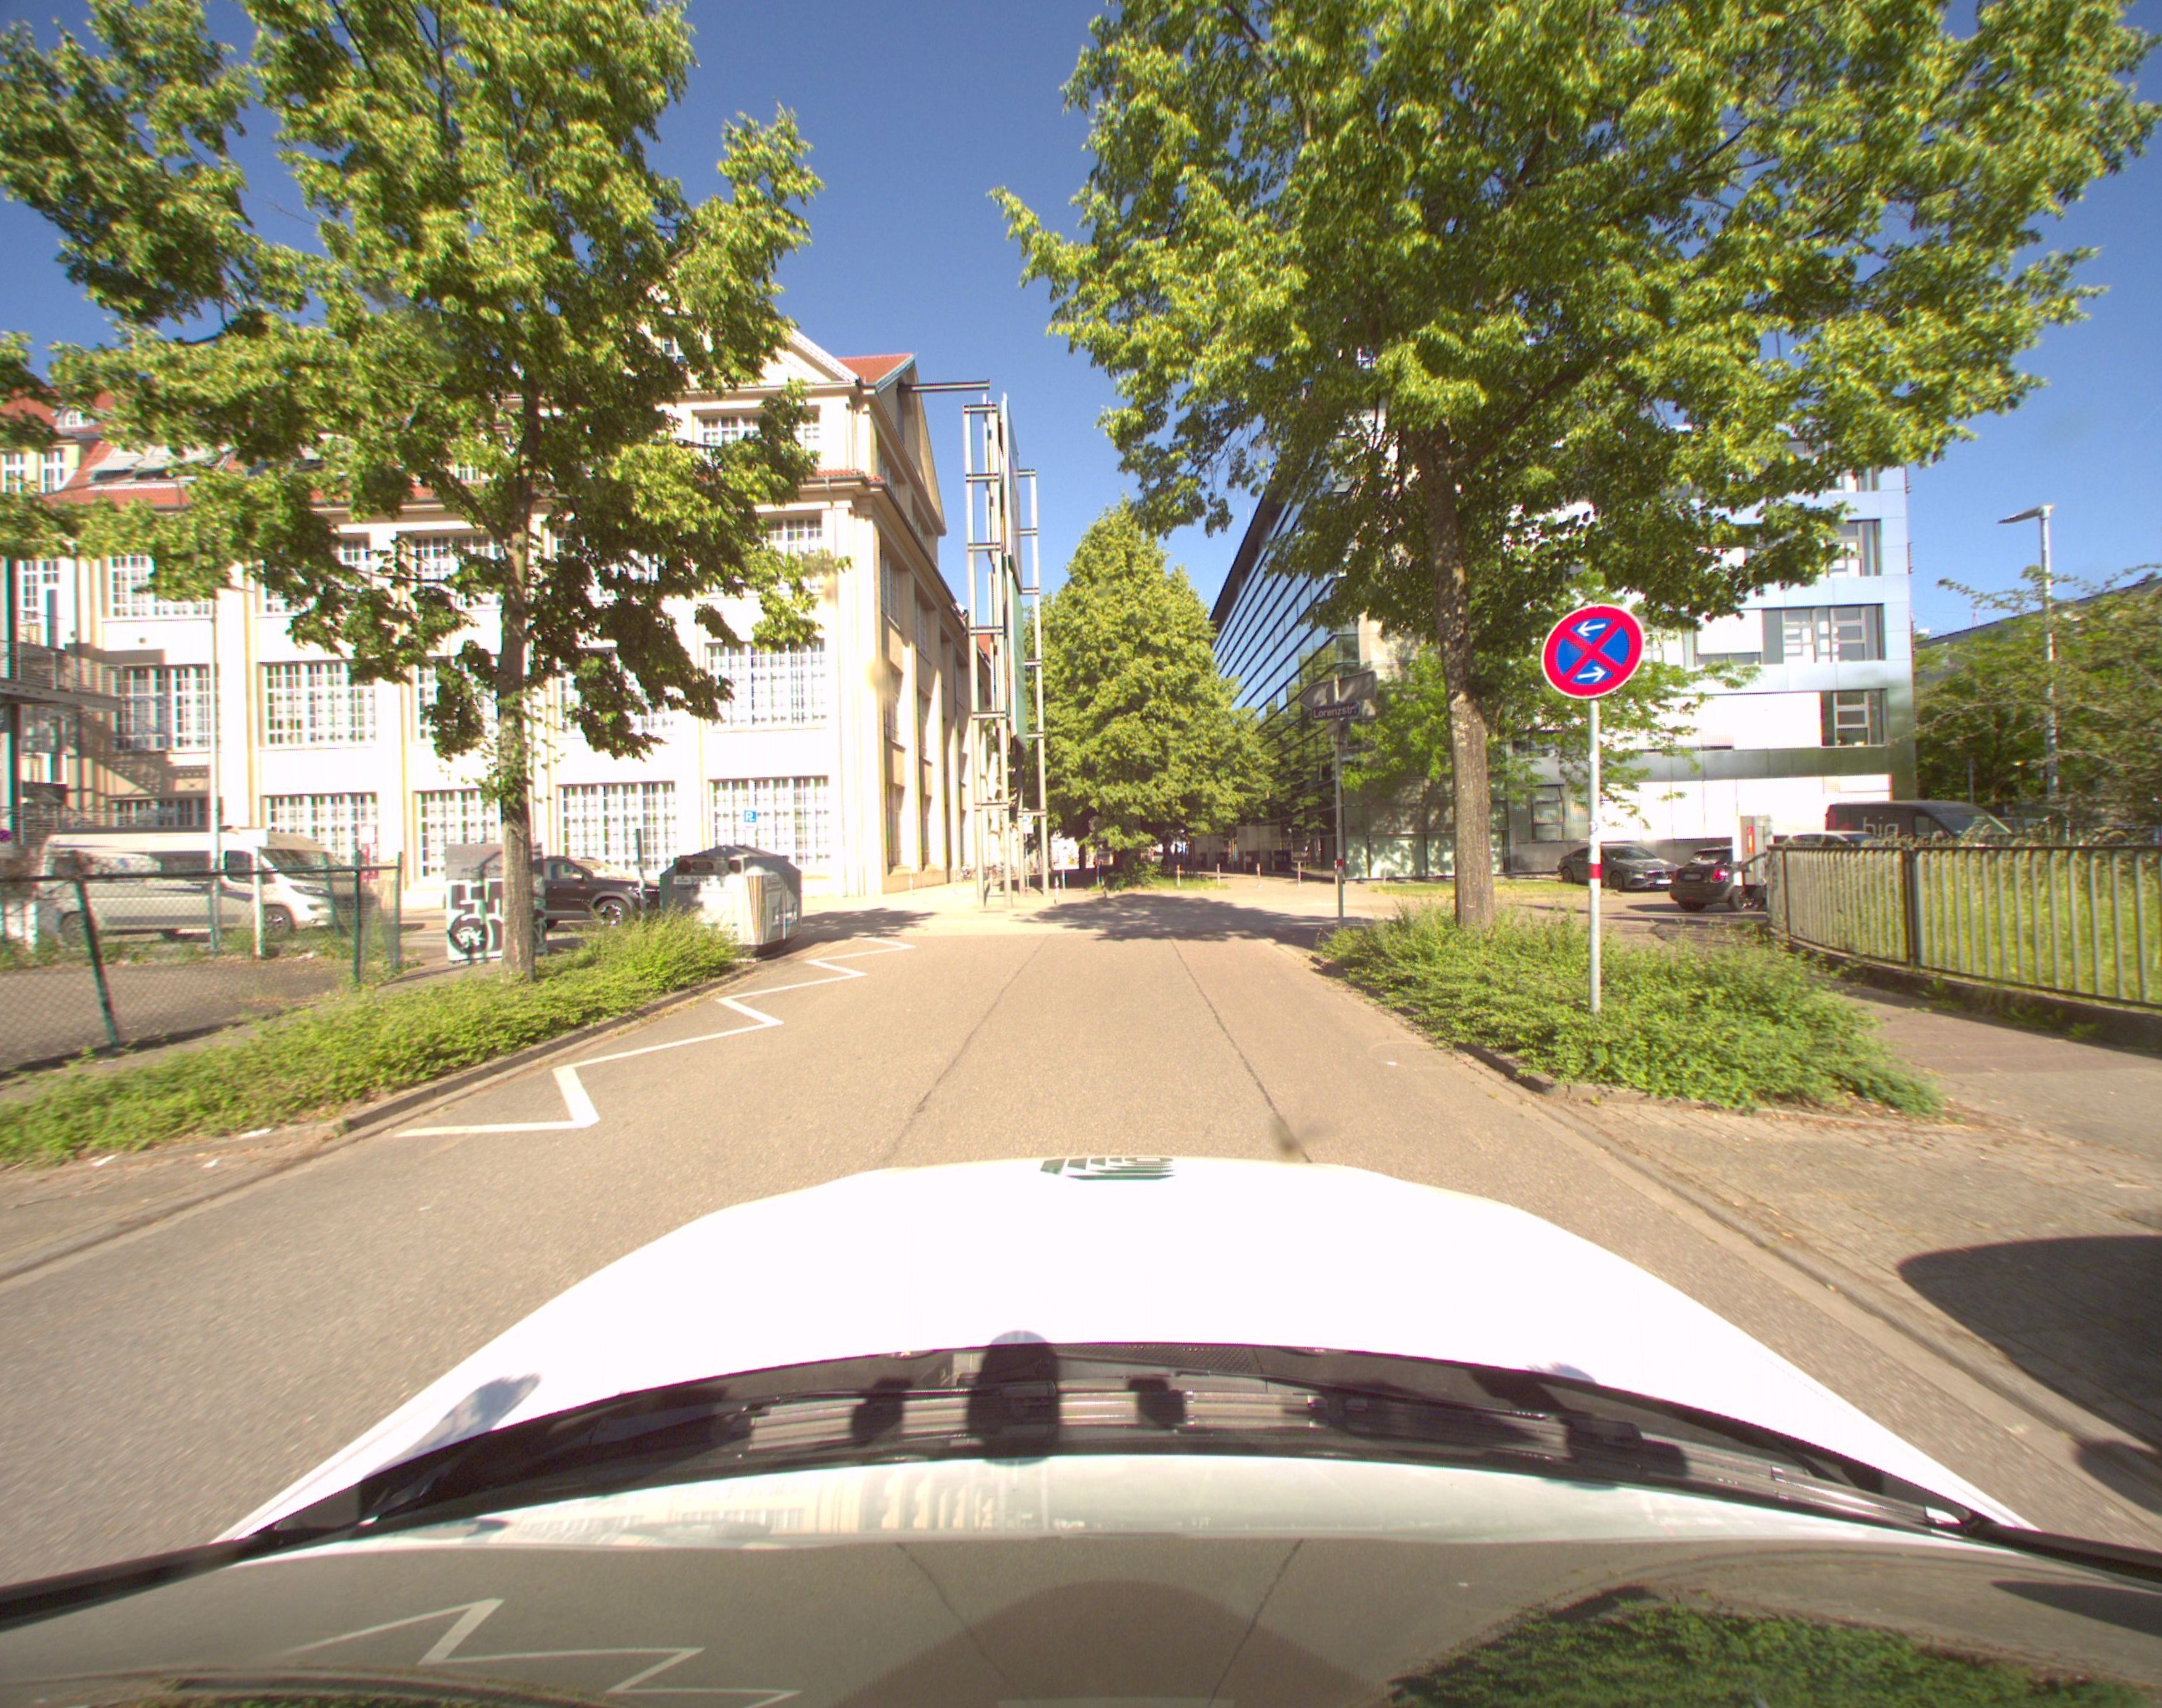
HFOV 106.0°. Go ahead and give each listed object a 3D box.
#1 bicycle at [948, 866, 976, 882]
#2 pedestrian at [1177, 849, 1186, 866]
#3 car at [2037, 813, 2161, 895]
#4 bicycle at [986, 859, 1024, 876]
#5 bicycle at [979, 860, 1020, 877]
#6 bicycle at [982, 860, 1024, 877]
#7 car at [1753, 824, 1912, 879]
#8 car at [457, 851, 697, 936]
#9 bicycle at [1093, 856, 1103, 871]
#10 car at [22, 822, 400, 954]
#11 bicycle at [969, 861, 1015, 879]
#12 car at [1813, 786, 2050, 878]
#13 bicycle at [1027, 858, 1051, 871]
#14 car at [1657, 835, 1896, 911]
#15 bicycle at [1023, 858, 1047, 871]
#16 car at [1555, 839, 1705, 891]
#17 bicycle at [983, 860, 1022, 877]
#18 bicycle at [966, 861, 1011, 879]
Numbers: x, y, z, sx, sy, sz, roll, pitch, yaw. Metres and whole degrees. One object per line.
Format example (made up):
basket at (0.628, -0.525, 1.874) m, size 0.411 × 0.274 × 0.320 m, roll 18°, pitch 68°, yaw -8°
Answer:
bicycle at (-6.976, 1.173, 47.953) m, size 0.773 × 0.792 × 2.892 m, roll -2°, pitch 0°, yaw 10°
pedestrian at (9.311, 0.284, 75.540) m, size 0.712 × 1.550 × 0.692 m, roll -2°, pitch 0°, yaw 8°
car at (23.440, -0.026, 17.195) m, size 4.264 × 1.629 × 1.832 m, roll -2°, pitch -2°, yaw 1°
bicycle at (-5.612, 1.009, 60.151) m, size 2.725 × 1.150 × 0.718 m, roll -2°, pitch 0°, yaw -3°
bicycle at (-5.799, 1.014, 57.868) m, size 2.794 × 1.150 × 0.718 m, roll -2°, pitch 0°, yaw -3°
bicycle at (-5.321, 1.001, 55.589) m, size 2.794 × 1.063 × 0.718 m, roll -2°, pitch 0°, yaw -3°
car at (24.979, -0.139, 27.281) m, size 1.879 × 1.645 × 3.846 m, roll -2°, pitch 2°, yaw 2°
car at (-11.139, 0.848, 18.207) m, size 4.072 × 1.695 × 2.002 m, roll -2°, pitch -1°, yaw 3°
bicycle at (1.364, 0.739, 64.792) m, size 0.618 × 1.197 × 2.129 m, roll -2°, pitch 0°, yaw -3°
car at (-19.517, 0.733, 18.482) m, size 6.239 × 2.597 × 2.166 m, roll -2°, pitch 0°, yaw 1°
bicycle at (-5.556, 0.988, 51.097) m, size 2.794 × 1.063 × 0.718 m, roll -2°, pitch 0°, yaw -3°
car at (27.522, -0.732, 26.734) m, size 2.215 × 2.622 × 5.476 m, roll -2°, pitch 1°, yaw 2°
bicycle at (-3.678, 0.893, 71.382) m, size 2.049 × 1.066 × 0.507 m, roll -2°, pitch 0°, yaw 3°
car at (14.972, 0.414, 17.683) m, size 3.739 × 1.472 × 1.657 m, roll -2°, pitch -2°, yaw 0°
bicycle at (-4.004, 0.928, 70.755) m, size 2.049 × 1.066 × 0.507 m, roll -2°, pitch 0°, yaw 3°
car at (17.540, 0.284, 26.327) m, size 1.879 × 1.350 × 4.552 m, roll -2°, pitch 2°, yaw 2°
bicycle at (-5.723, 1.042, 59.364) m, size 2.725 × 1.150 × 0.718 m, roll -2°, pitch 0°, yaw -3°
bicycle at (-5.964, 1.023, 52.667) m, size 2.790 × 1.063 × 0.719 m, roll -2°, pitch 0°, yaw 1°
